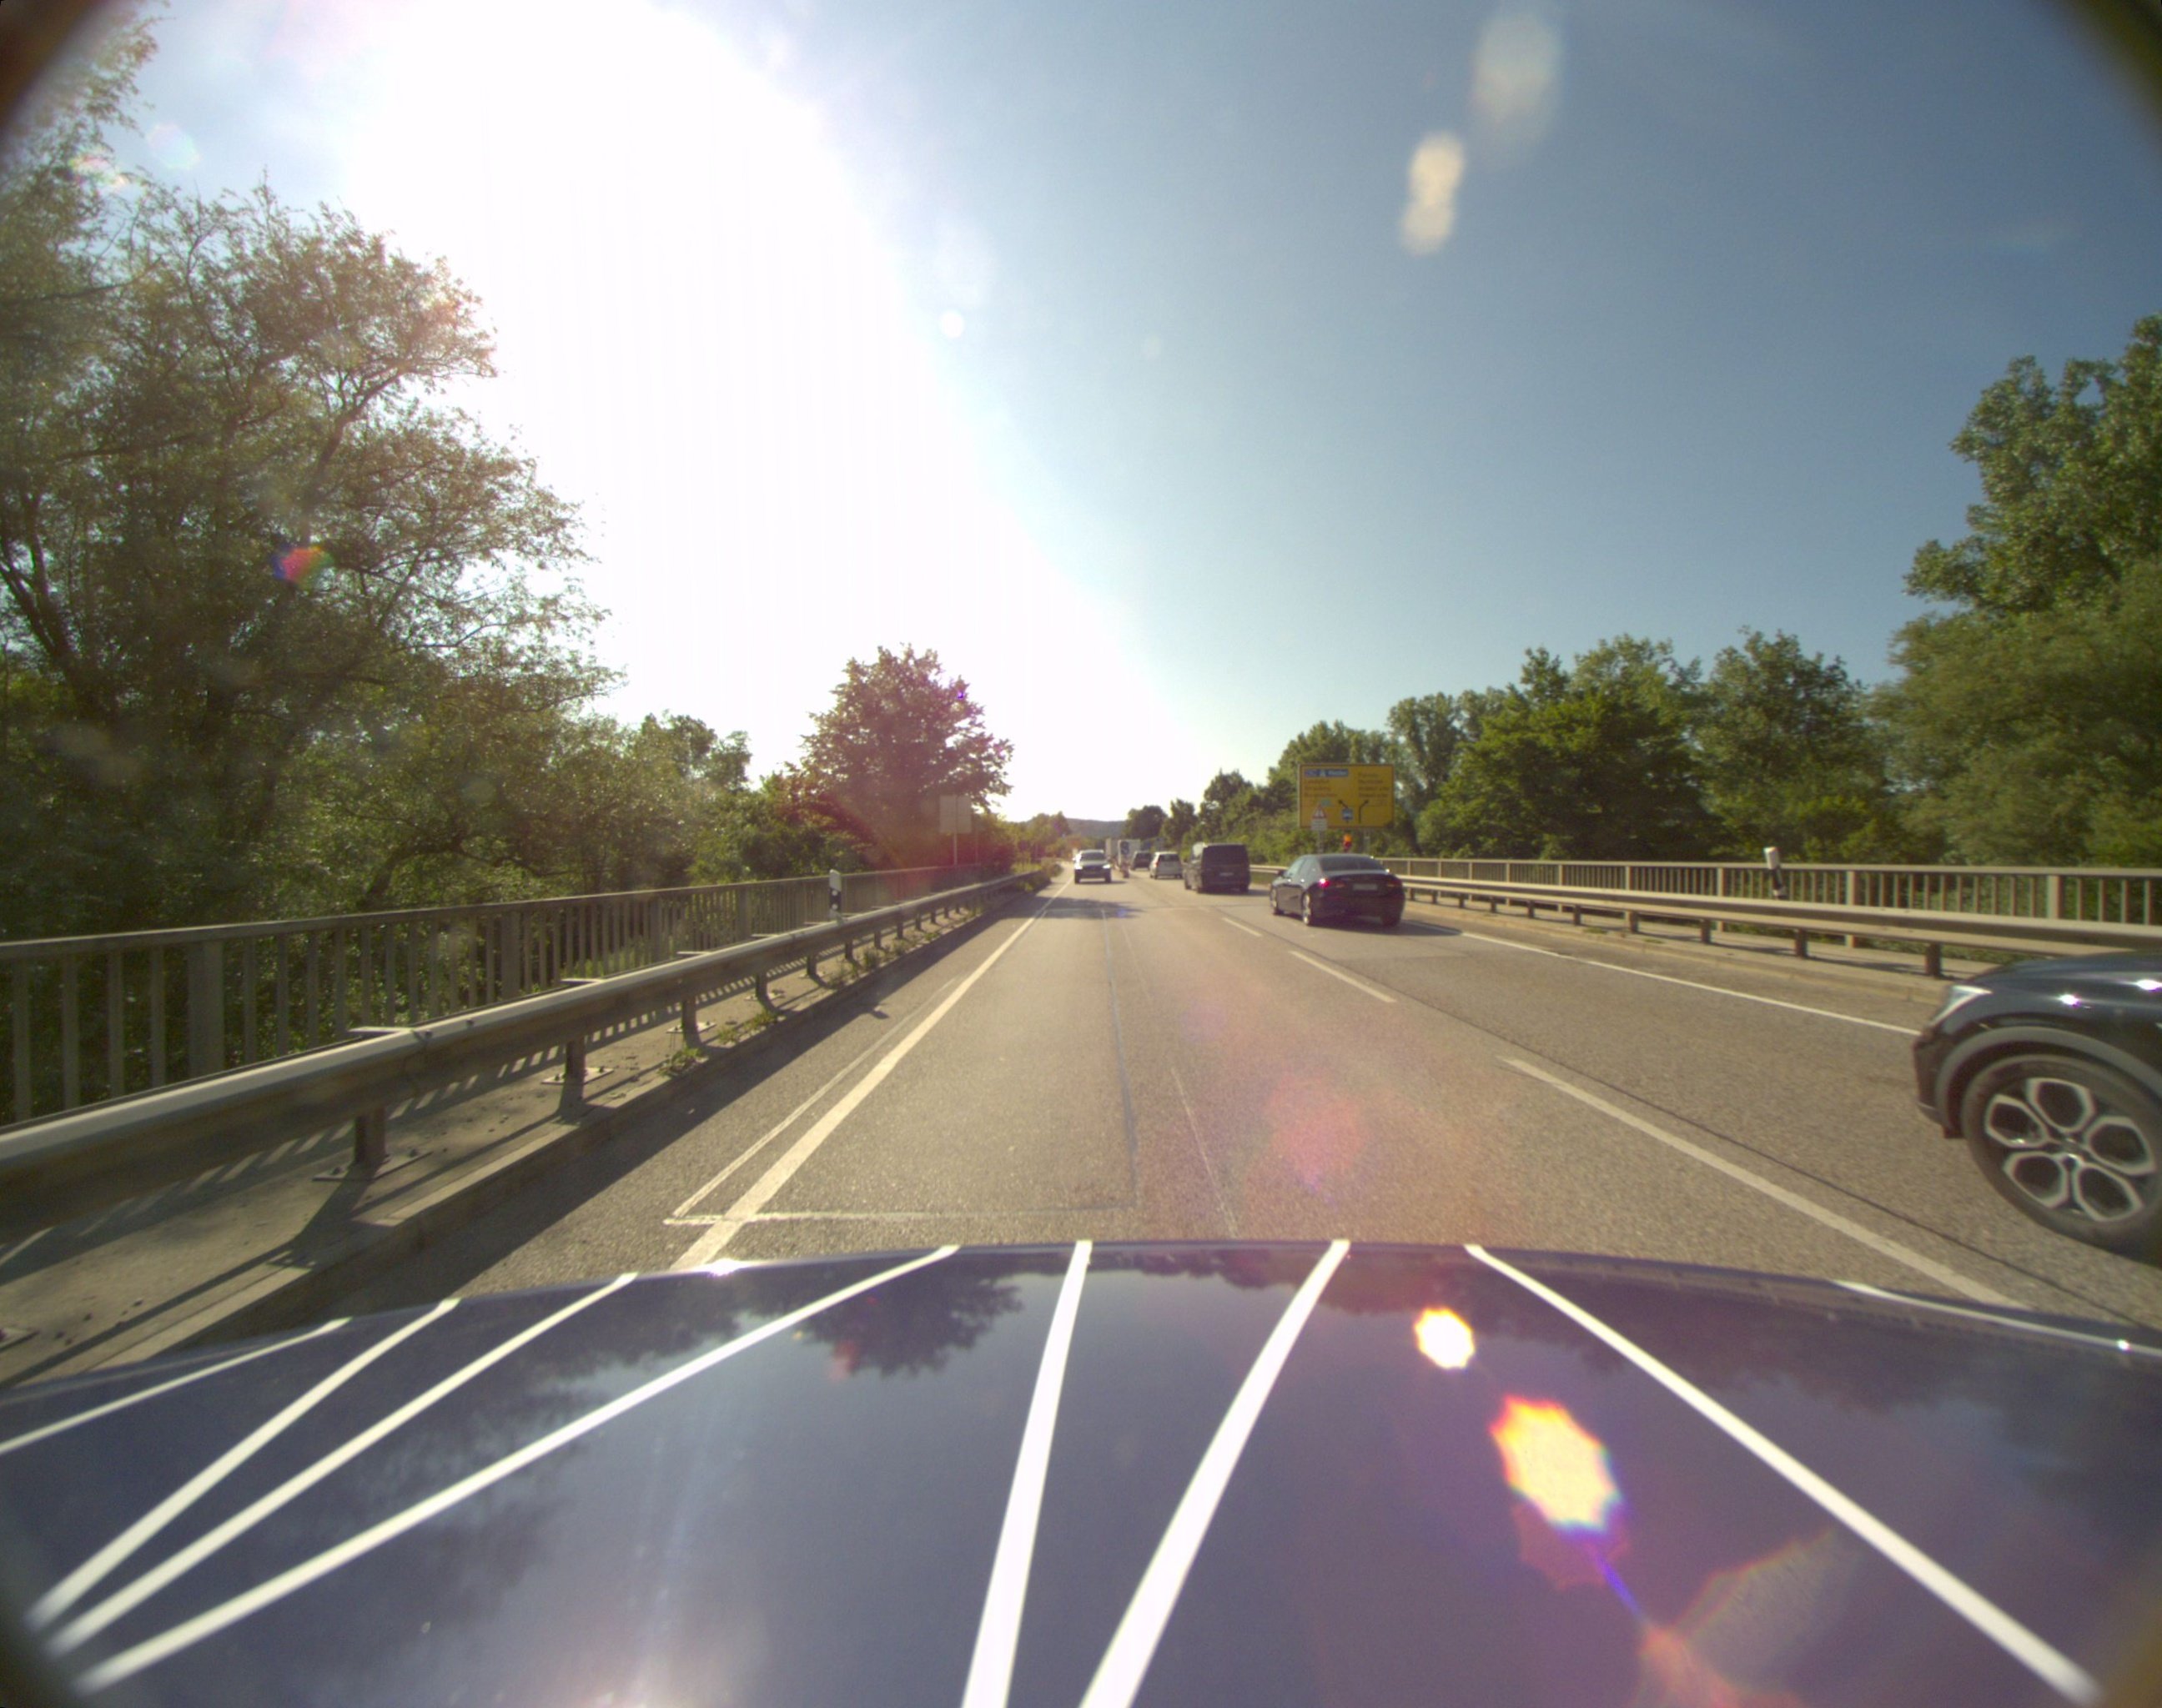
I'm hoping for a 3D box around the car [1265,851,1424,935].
[{"bbox_3d":[5.294,0.693,15.925,1.893,1.479,4.272,-1,0,1],"label":"car"}]

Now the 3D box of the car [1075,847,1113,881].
[{"bbox_3d":[0.663,0.486,40.158,1.871,1.599,4.379,-2,1,0],"label":"car"}]

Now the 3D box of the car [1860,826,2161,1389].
[{"bbox_3d":[4.378,0.806,1.084,1.972,1.796,4.530,-1,1,2],"label":"car"}]

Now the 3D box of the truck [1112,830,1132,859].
[{"bbox_3d":[6.320,-1.456,119.113,2.744,4.303,8.129,-1,1,1],"label":"truck"}]

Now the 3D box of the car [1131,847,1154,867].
[{"bbox_3d":[5.367,0.250,66.537,1.743,1.655,4.046,-1,0,1],"label":"car"}]

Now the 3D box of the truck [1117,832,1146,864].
[{"bbox_3d":[5.403,-0.640,82.058,2.620,3.235,6.966,-1,0,1],"label":"truck"}]

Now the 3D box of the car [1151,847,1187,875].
[{"bbox_3d":[5.173,0.391,45.023,1.824,1.537,4.062,2,0,3],"label":"car"}]

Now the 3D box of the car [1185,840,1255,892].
[{"bbox_3d":[5.281,0.406,29.460,1.972,1.796,4.530,-1,1,2],"label":"car"}]
